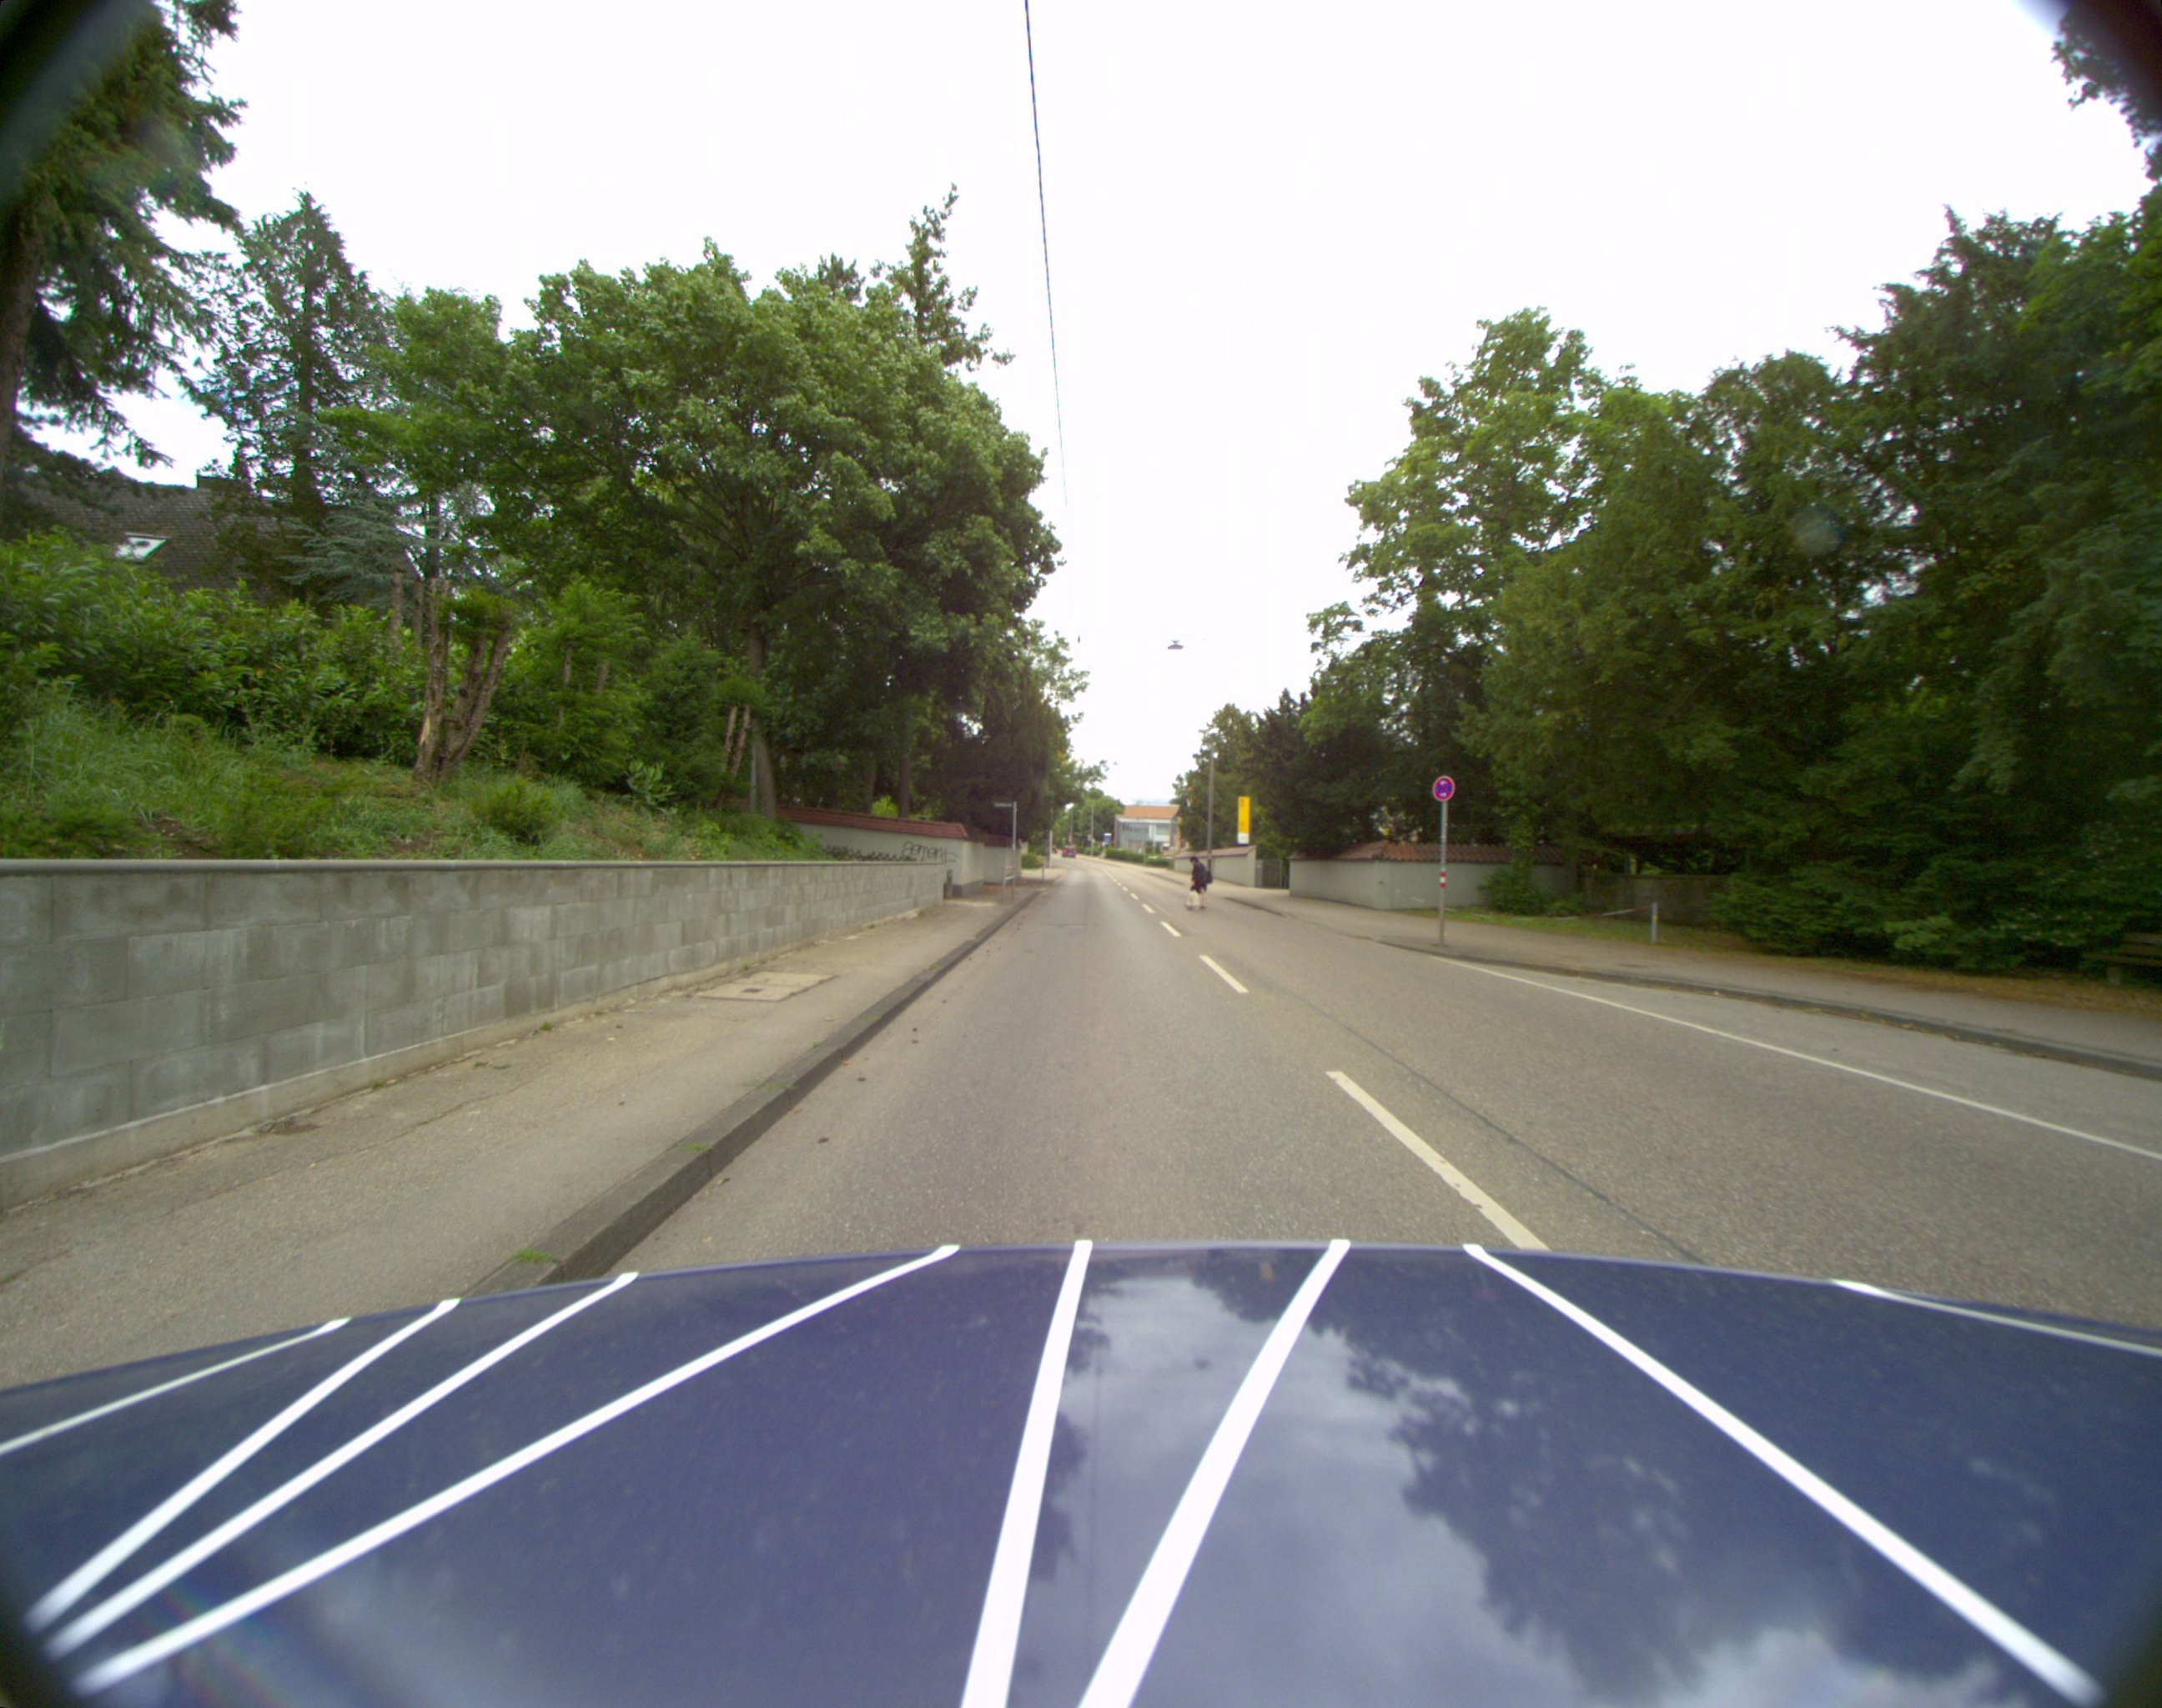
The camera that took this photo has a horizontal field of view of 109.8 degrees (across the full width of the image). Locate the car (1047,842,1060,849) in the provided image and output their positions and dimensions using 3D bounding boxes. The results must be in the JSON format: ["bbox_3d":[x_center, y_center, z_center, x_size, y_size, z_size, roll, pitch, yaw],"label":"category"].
[{"bbox_3d":[-5.712,-1.690,156.963,1.792,1.420,3.994,2,0,-14],"label":"car"}]

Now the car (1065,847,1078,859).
[{"bbox_3d":[-1.544,-0.240,125.838,1.895,1.845,5.082,4,0,0],"label":"car"}]

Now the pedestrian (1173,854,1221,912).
[{"bbox_3d":[3.276,0.803,21.367,0.899,1.551,0.931,4,0,38],"label":"pedestrian"}]
